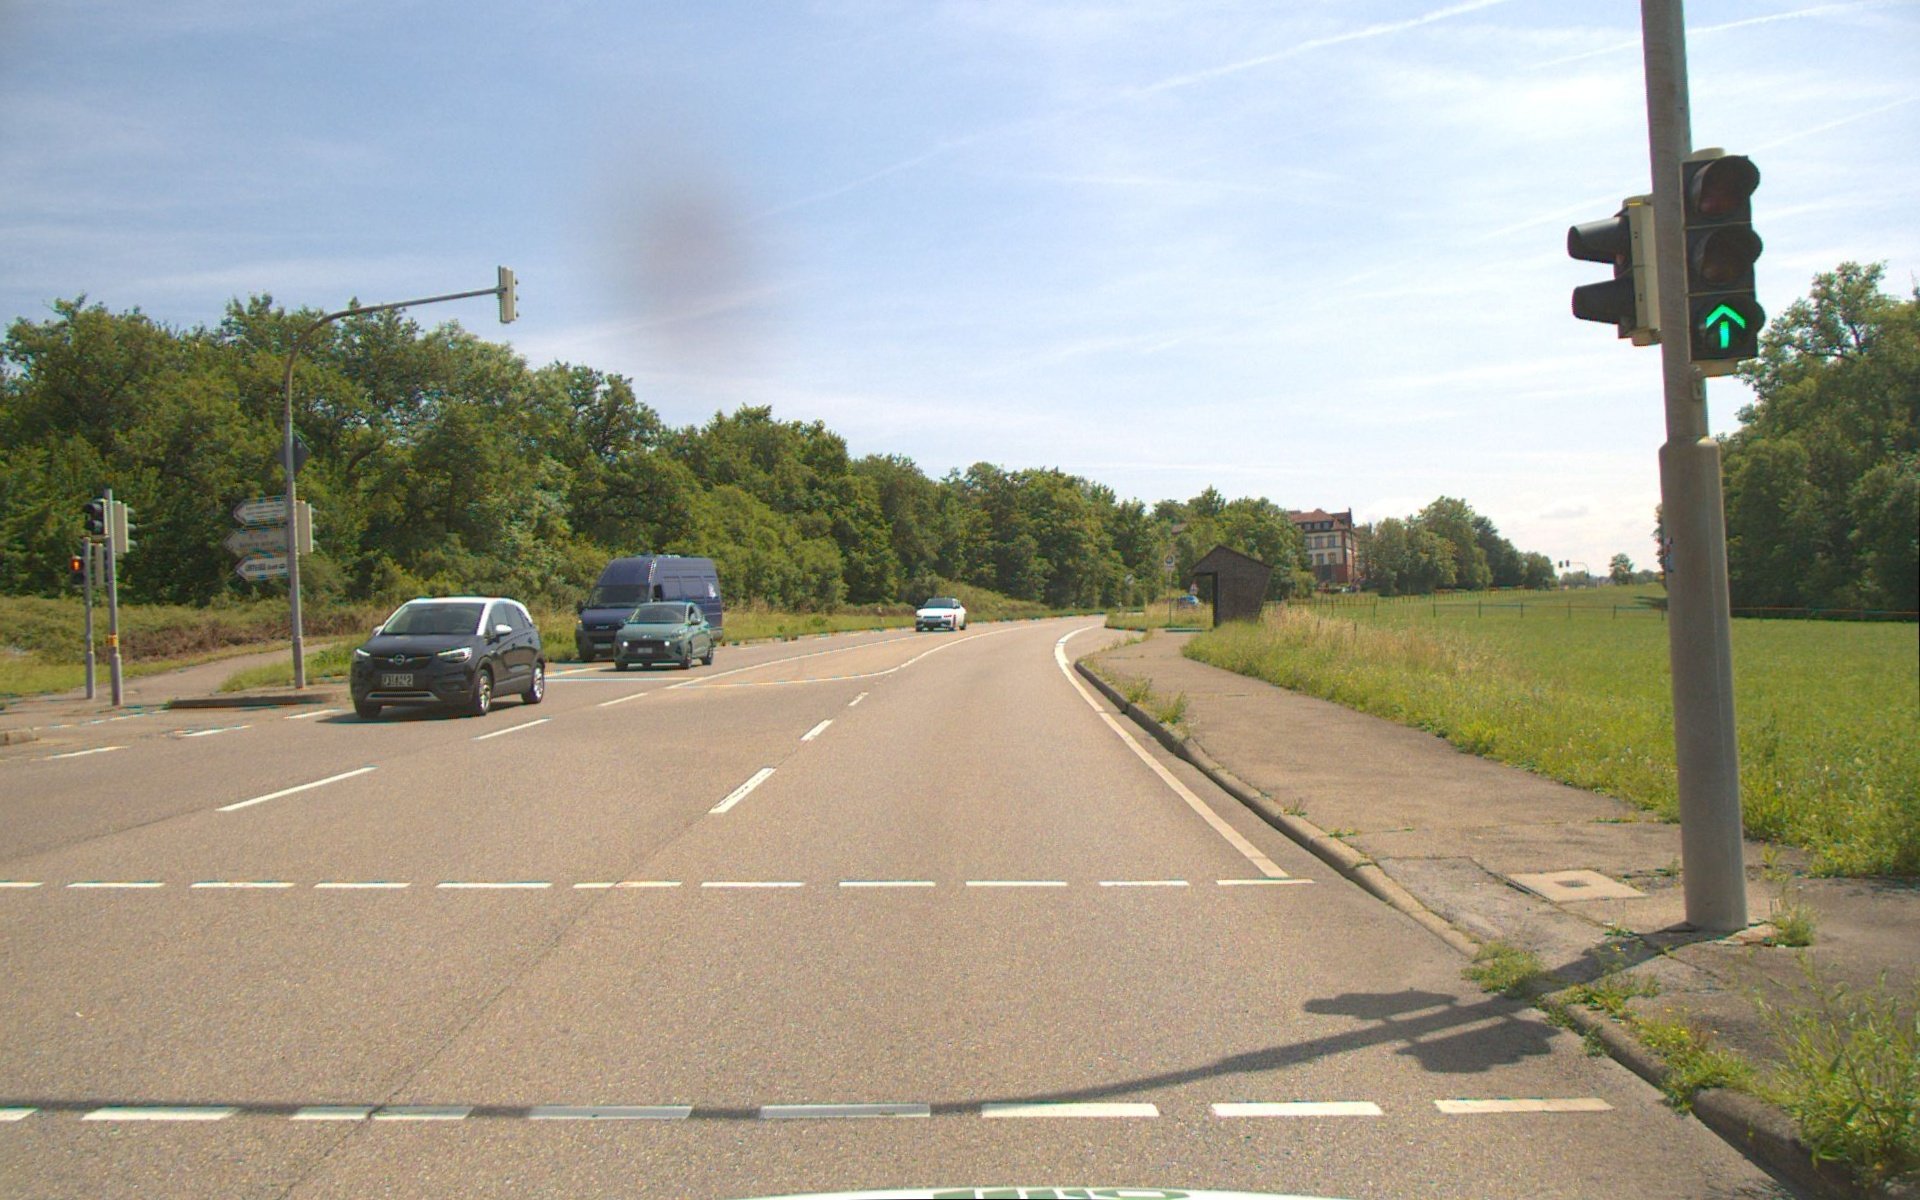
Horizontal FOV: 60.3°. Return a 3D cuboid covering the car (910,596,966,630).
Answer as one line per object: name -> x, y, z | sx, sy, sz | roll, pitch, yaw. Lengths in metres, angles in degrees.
car -> -1.025, 0.625, 79.691 | 1.896, 1.575, 4.631 | -1, 0, 10

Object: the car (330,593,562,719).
car -> -7.100, 0.732, 23.303 | 1.934, 1.589, 4.189 | -1, 0, 0

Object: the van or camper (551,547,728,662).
van or camper -> -8.881, 0.039, 46.741 | 2.192, 2.964, 7.254 | -1, 1, 12

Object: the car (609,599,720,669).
car -> -6.737, 0.746, 38.066 | 1.671, 1.509, 3.834 | -1, 0, 3

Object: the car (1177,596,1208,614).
car -> 20.890, 0.463, 148.423 | 1.952, 1.601, 4.000 | -1, 0, 21
